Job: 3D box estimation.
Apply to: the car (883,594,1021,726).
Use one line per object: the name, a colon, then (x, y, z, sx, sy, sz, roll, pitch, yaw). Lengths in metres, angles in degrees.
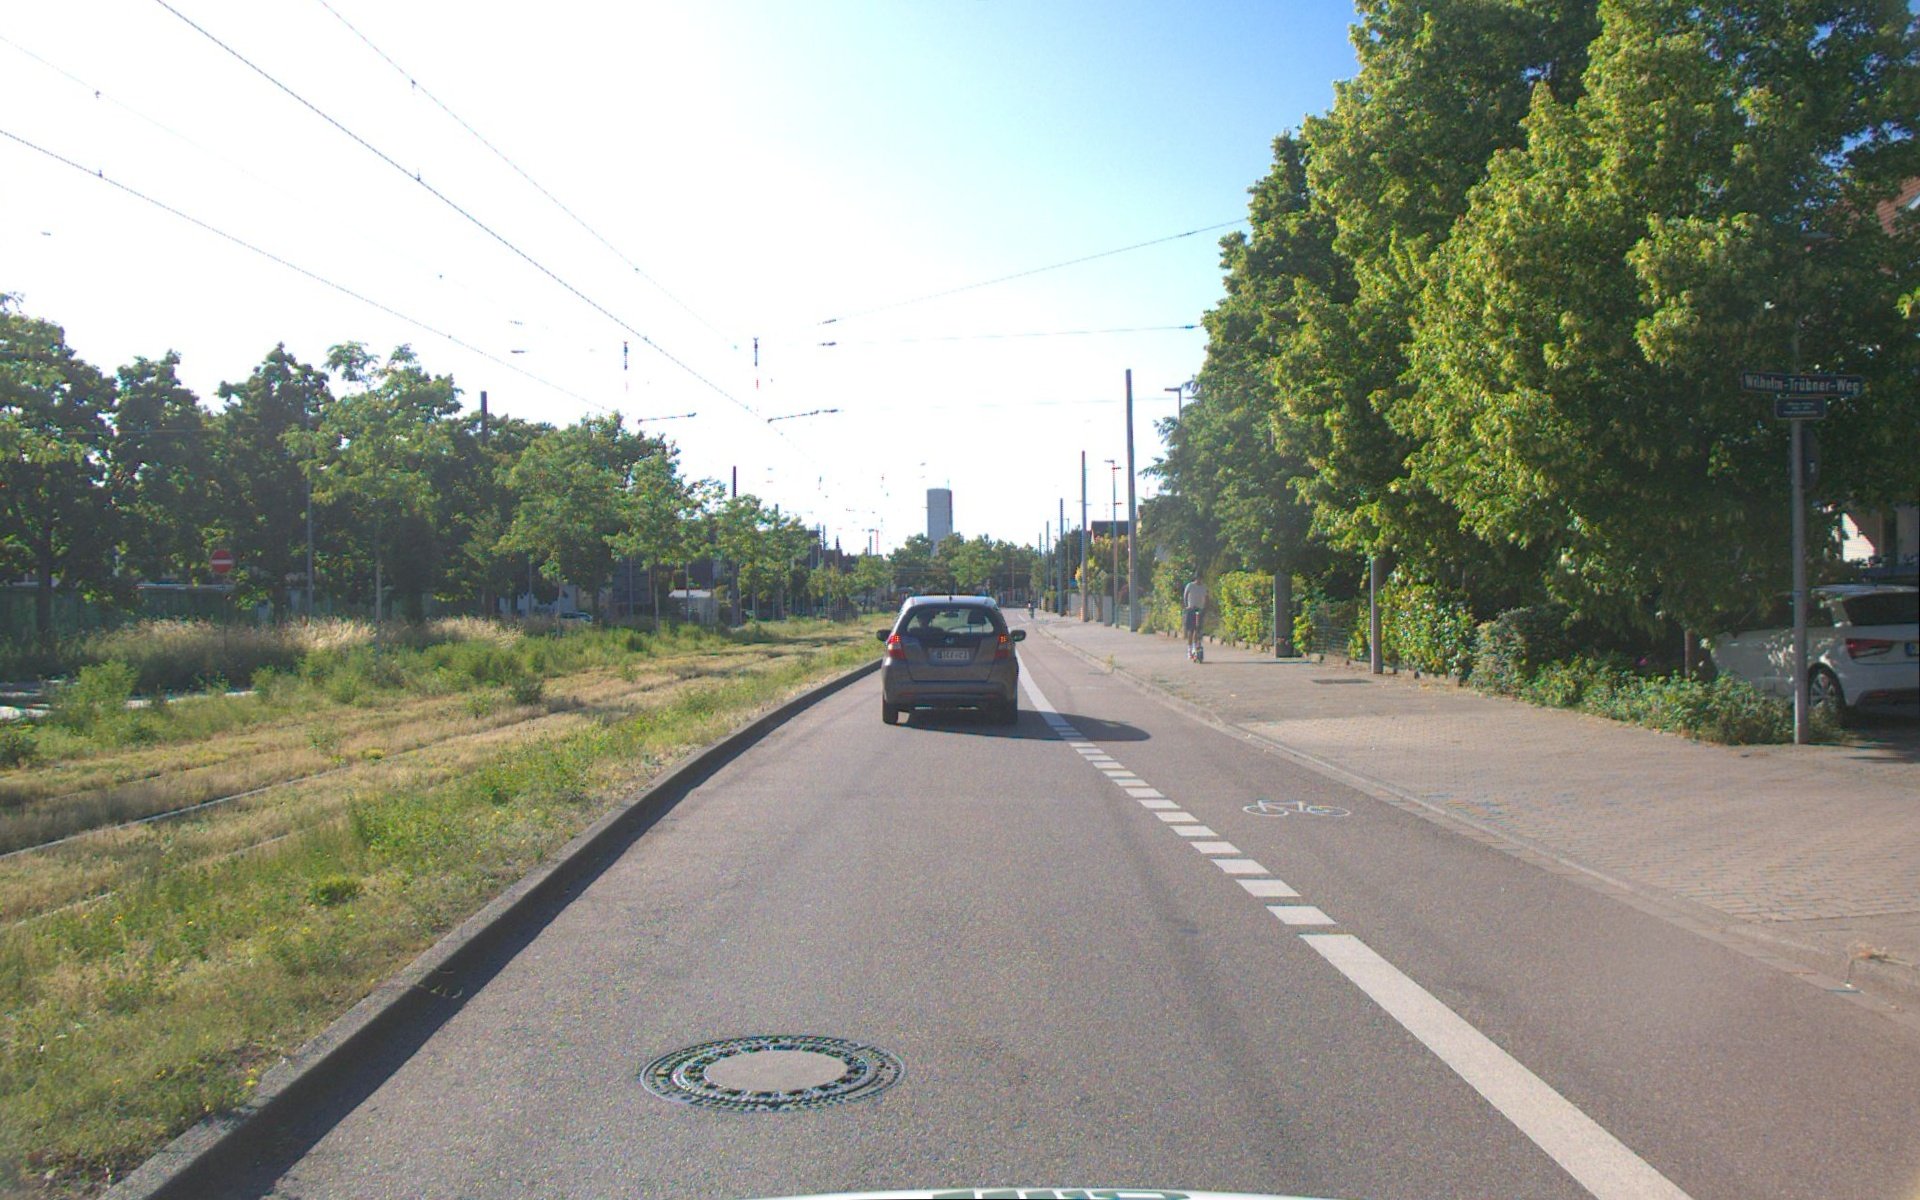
car: (-0.057, 0.707, 20.954, 1.590, 1.526, 3.457, 0, 0, 1)

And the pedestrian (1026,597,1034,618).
pedestrian: (6.453, 0.685, 152.428, 0.707, 1.832, 1.164, -2, 0, 0)

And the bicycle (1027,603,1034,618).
bicycle: (6.459, 0.965, 152.381, 0.502, 1.263, 3.089, -2, 0, 0)

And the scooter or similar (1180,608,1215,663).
scooter or similar: (5.162, 0.766, 36.014, 0.528, 1.138, 1.417, -1, 0, -1)

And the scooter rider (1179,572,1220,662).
scooter rider: (5.212, 0.365, 36.014, 0.701, 1.934, 0.934, -1, 0, -1)

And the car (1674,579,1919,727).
car: (9.689, 0.510, 18.323, 1.738, 1.411, 3.868, -2, 0, -2)
